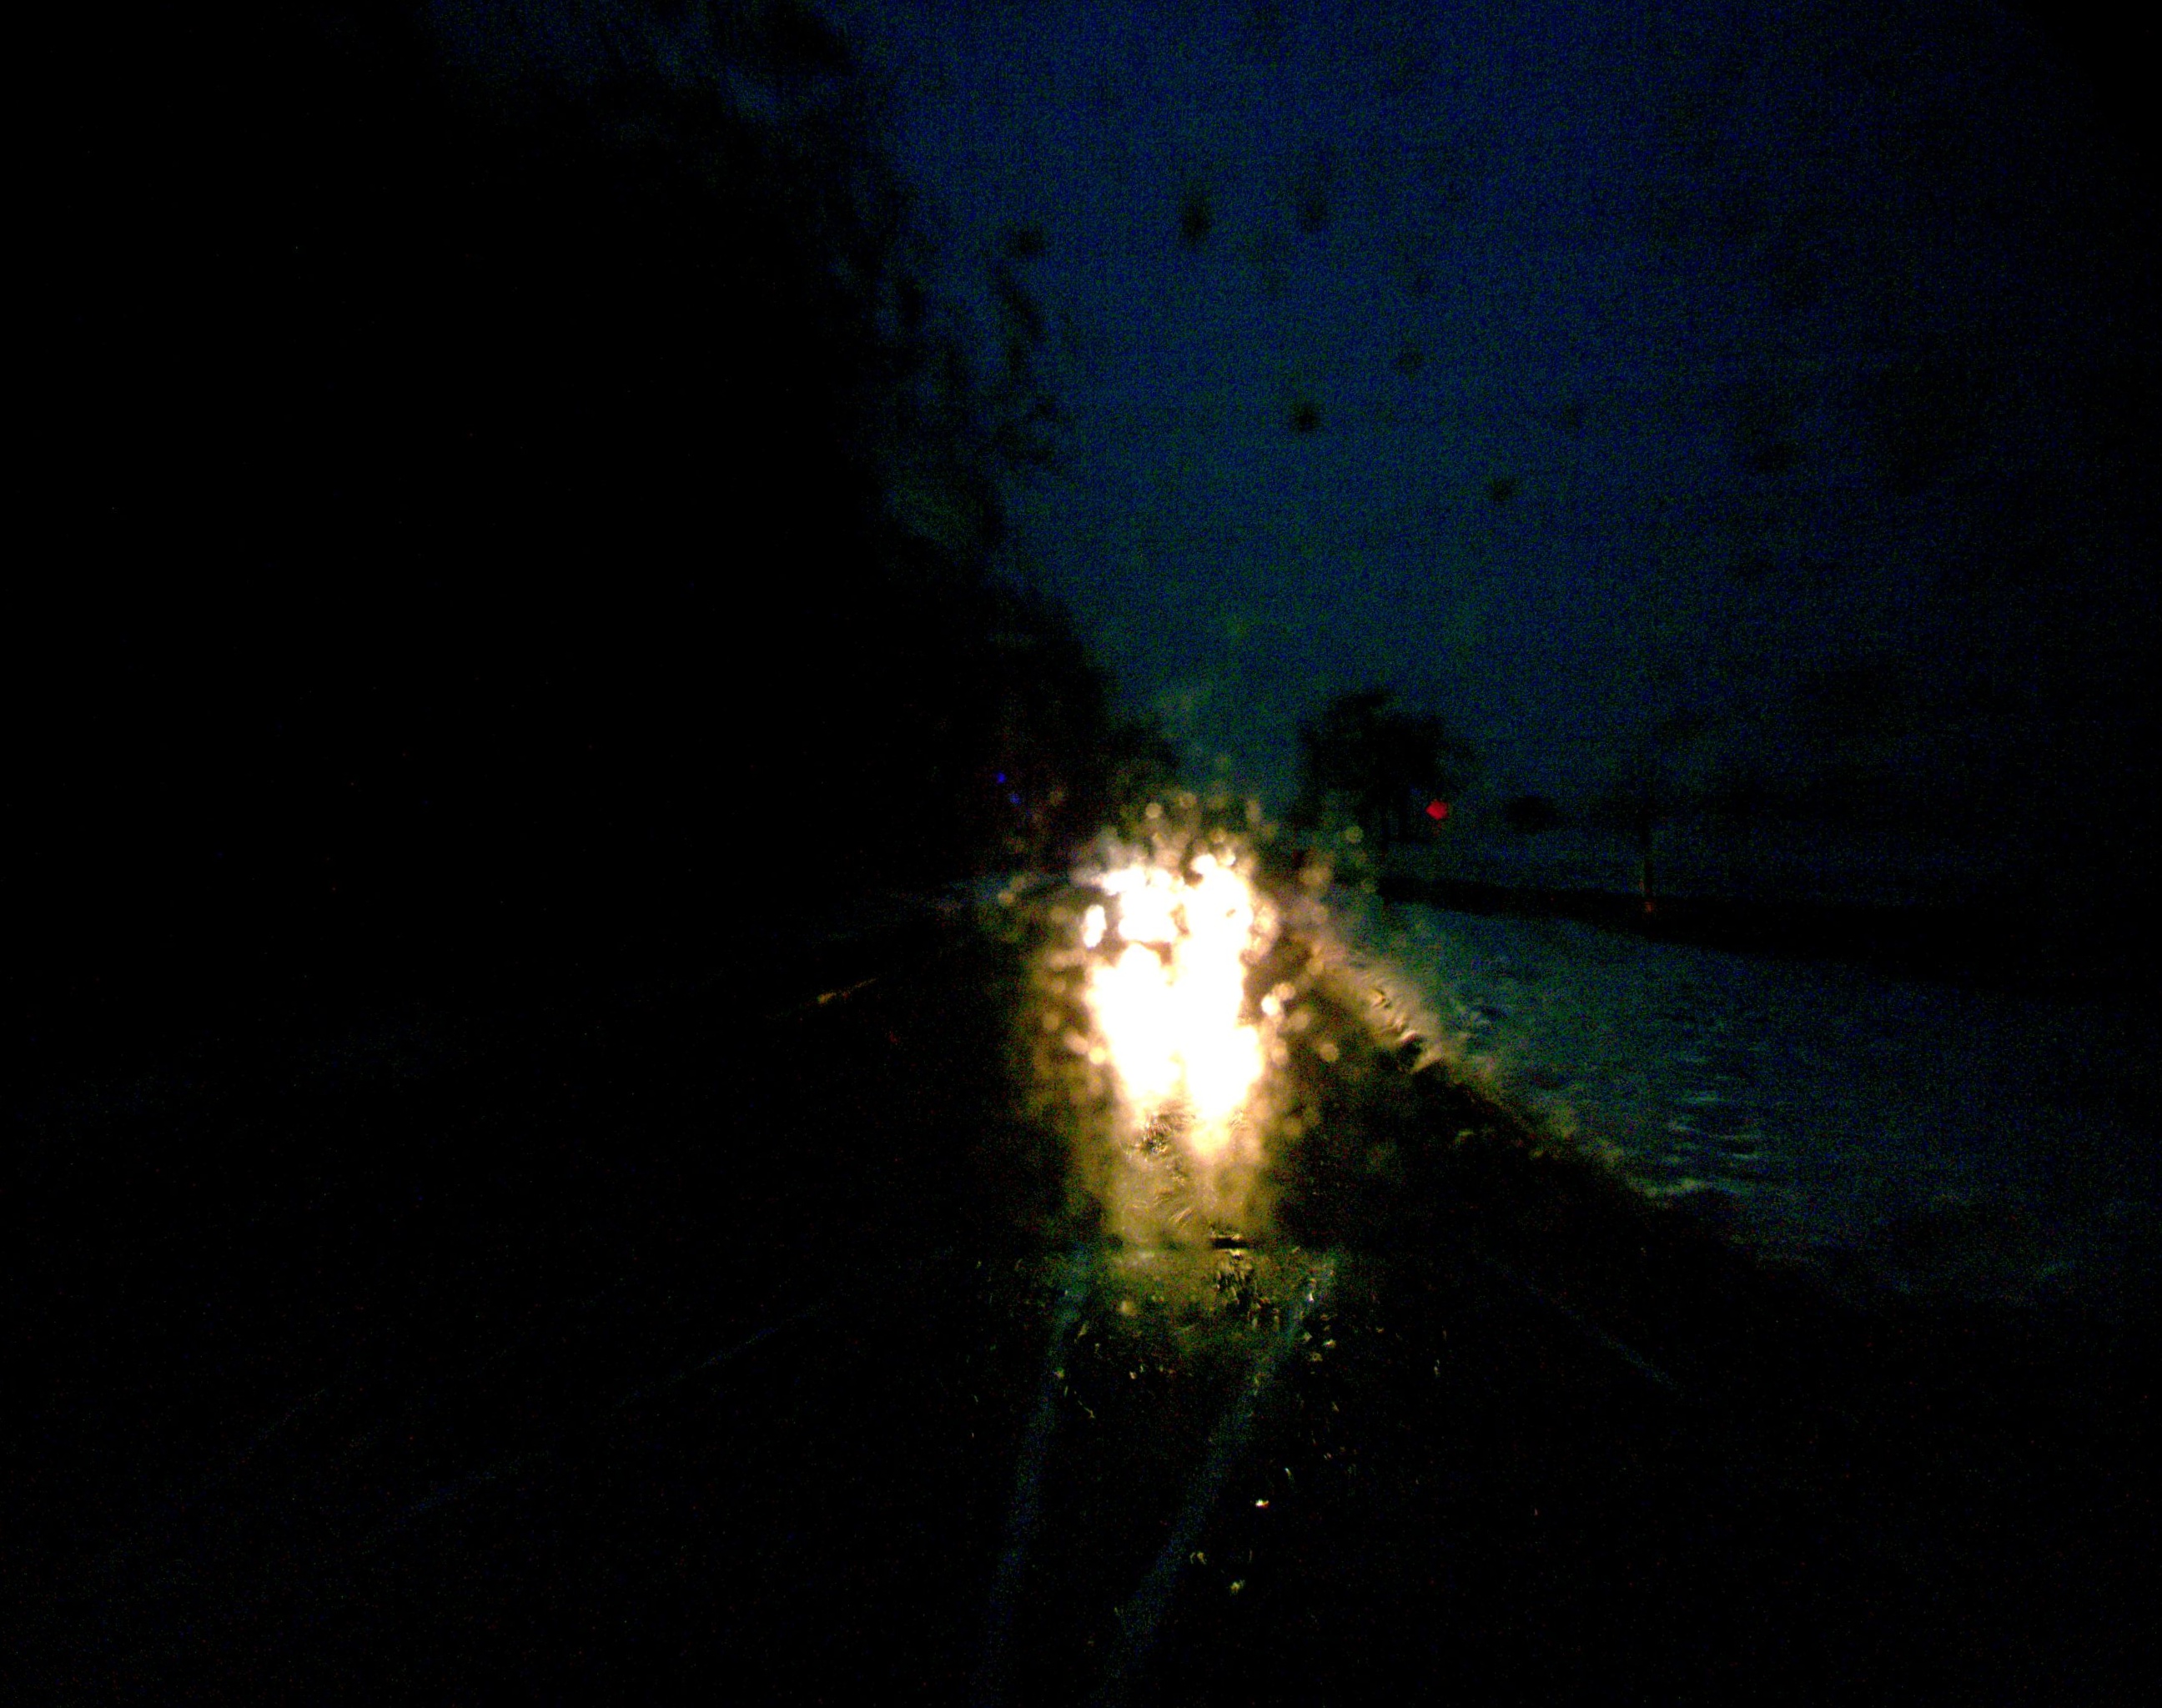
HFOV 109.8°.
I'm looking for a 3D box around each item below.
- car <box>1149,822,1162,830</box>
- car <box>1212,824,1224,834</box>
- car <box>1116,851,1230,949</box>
[{"bbox_3d":[17.099,-6.486,174.980,2.000,1.797,3.996,-2,2,-7],"label":"car"},{"bbox_3d":[25.719,-4.680,142.852,1.997,1.797,4.001,-2,2,9],"label":"car"},{"bbox_3d":[1.607,0.725,13.770,1.724,1.426,3.677,-2,1,5],"label":"car"}]
